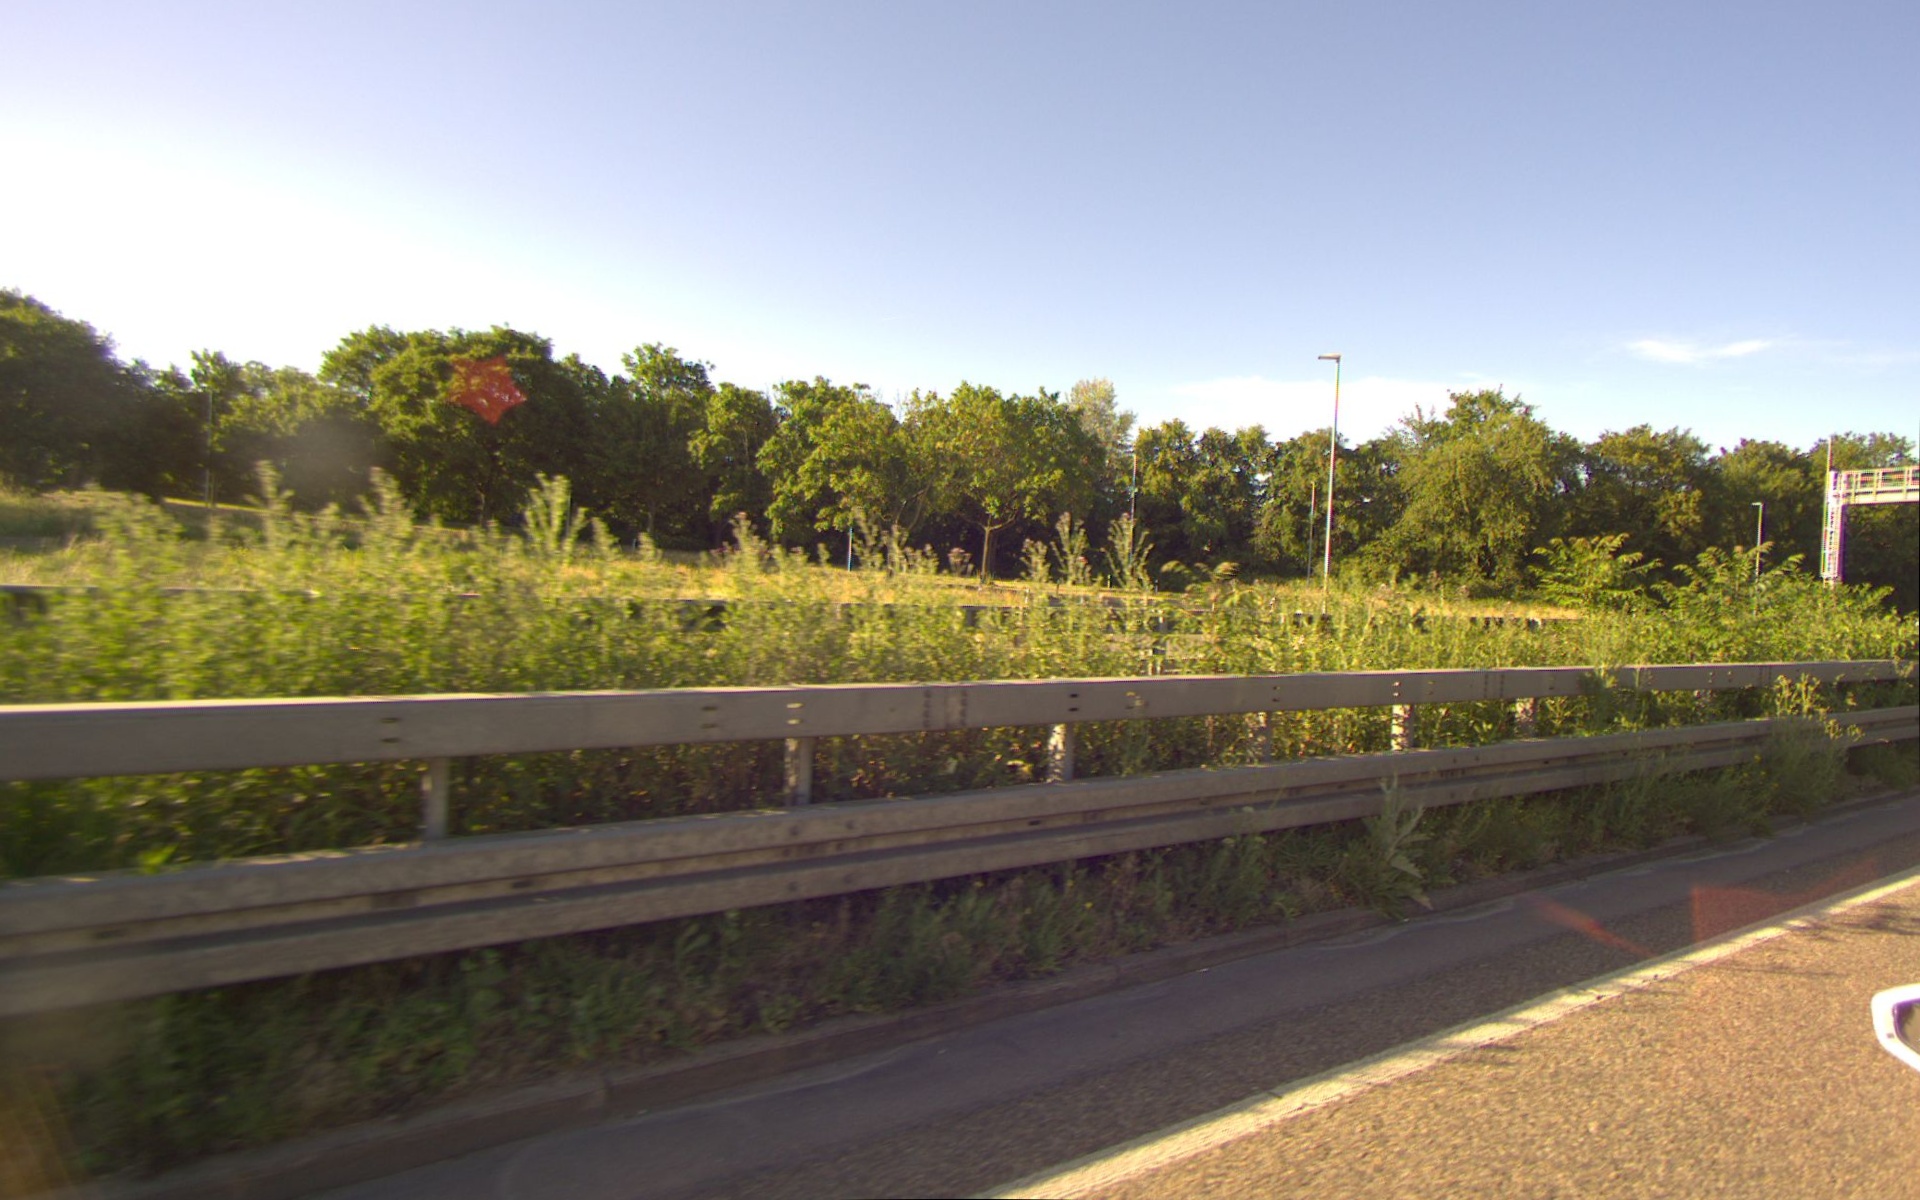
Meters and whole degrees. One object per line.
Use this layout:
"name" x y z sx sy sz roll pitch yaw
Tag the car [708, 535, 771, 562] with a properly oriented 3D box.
"car" -18.411 -4.273 84.015 4.844 2.040 1.999 2 1 -4
